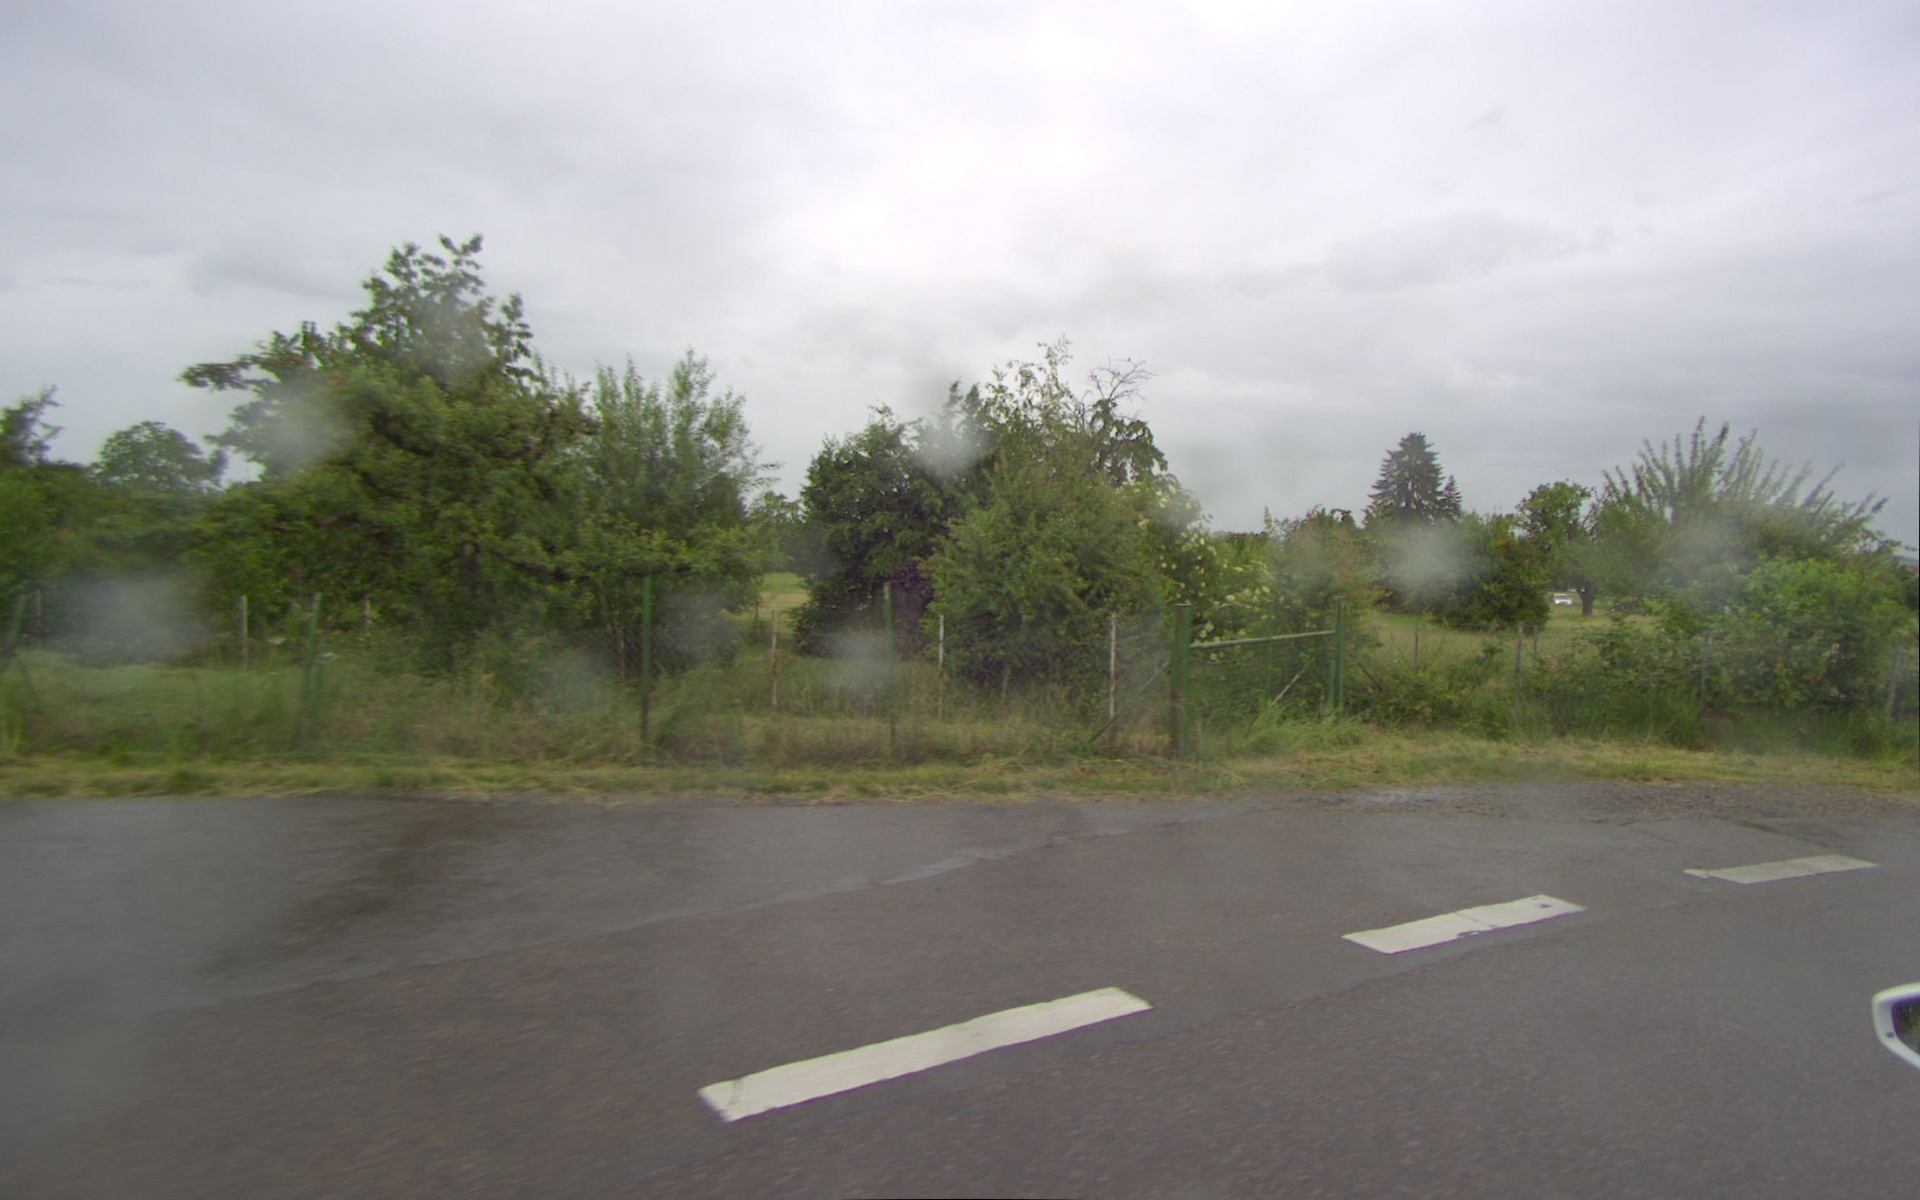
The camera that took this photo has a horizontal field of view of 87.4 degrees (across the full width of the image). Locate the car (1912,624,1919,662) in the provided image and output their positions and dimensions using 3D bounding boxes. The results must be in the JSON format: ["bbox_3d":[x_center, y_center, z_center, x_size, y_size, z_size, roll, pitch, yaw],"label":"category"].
[{"bbox_3d":[40.962,1.873,40.933,1.786,1.615,3.998,4,1,23],"label":"car"}]
